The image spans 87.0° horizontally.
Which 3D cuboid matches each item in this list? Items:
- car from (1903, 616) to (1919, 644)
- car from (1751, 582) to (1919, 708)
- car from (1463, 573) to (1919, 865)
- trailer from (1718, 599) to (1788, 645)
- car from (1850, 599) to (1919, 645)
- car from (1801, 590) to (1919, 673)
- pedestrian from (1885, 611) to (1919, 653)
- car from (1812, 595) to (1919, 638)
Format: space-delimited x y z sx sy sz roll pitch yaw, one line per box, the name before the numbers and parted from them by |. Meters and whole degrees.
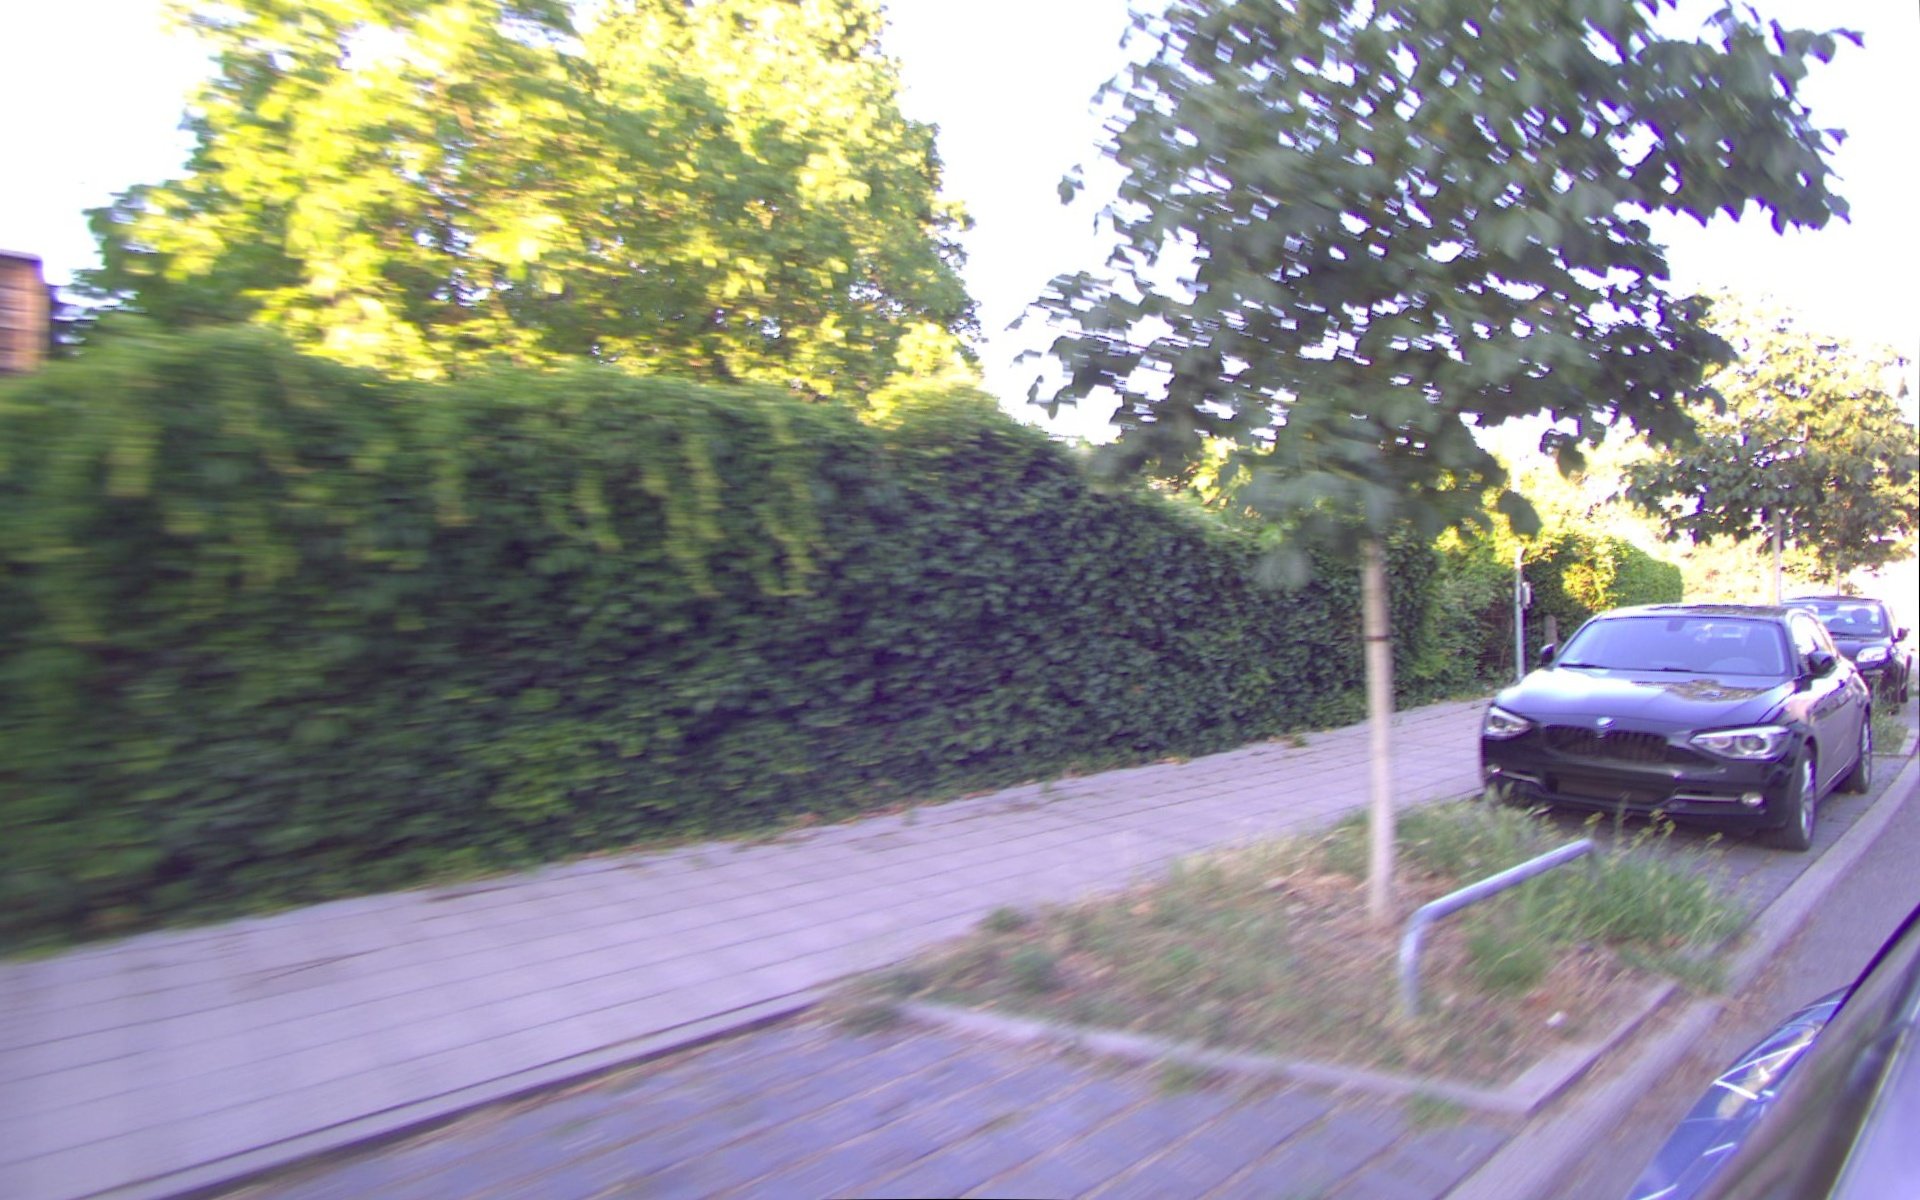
car | 54.955 1.598 56.033 3.603 1.539 1.689 -3 -3 27
car | 12.316 0.562 14.092 3.438 1.529 1.578 0 -1 -44
car | 5.421 0.634 7.284 4.118 1.529 1.696 0 -1 -40
trailer | 40.563 1.143 51.888 2.053 2.240 5.166 -1 -2 30
car | 56.260 1.205 59.119 5.855 2.567 2.386 -4 -3 30
car | 19.095 0.652 21.427 1.710 1.570 4.476 -1 -2 43
pedestrian | 42.550 1.437 45.635 0.883 1.874 0.857 1 -2 -10
car | 64.711 1.212 71.906 5.777 2.749 2.034 -3 -3 23
